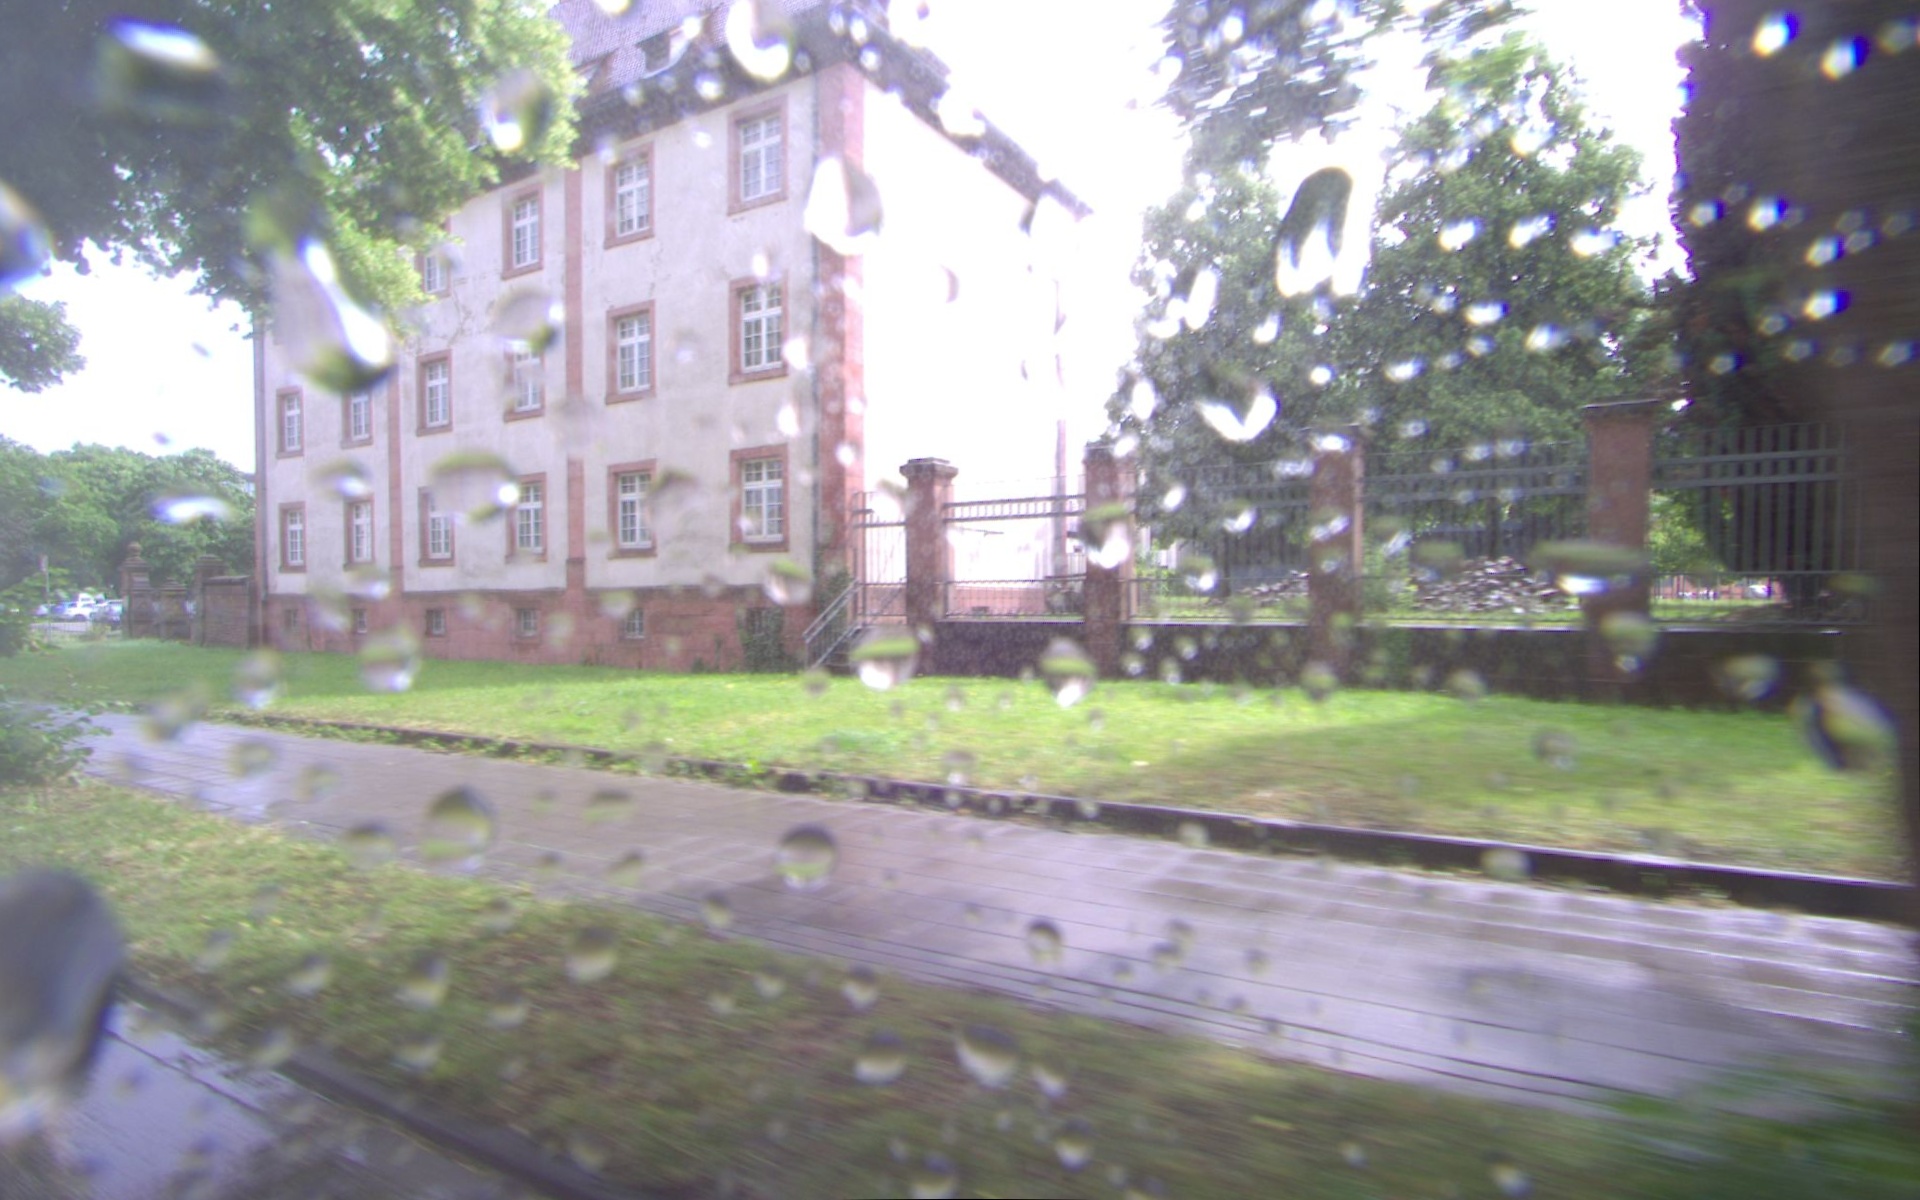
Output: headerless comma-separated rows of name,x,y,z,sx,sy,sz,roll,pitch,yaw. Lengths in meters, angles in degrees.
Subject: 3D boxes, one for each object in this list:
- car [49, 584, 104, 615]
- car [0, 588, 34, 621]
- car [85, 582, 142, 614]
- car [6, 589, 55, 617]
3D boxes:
car,-61.796,-0.057,70.020,3.948,2.042,1.986,0,3,36
car,-52.894,0.247,55.444,3.822,1.707,1.734,0,3,39
car,-57.091,-0.121,67.546,3.948,2.042,1.986,0,3,36
car,-67.144,0.213,72.336,3.760,1.883,1.860,0,3,36
